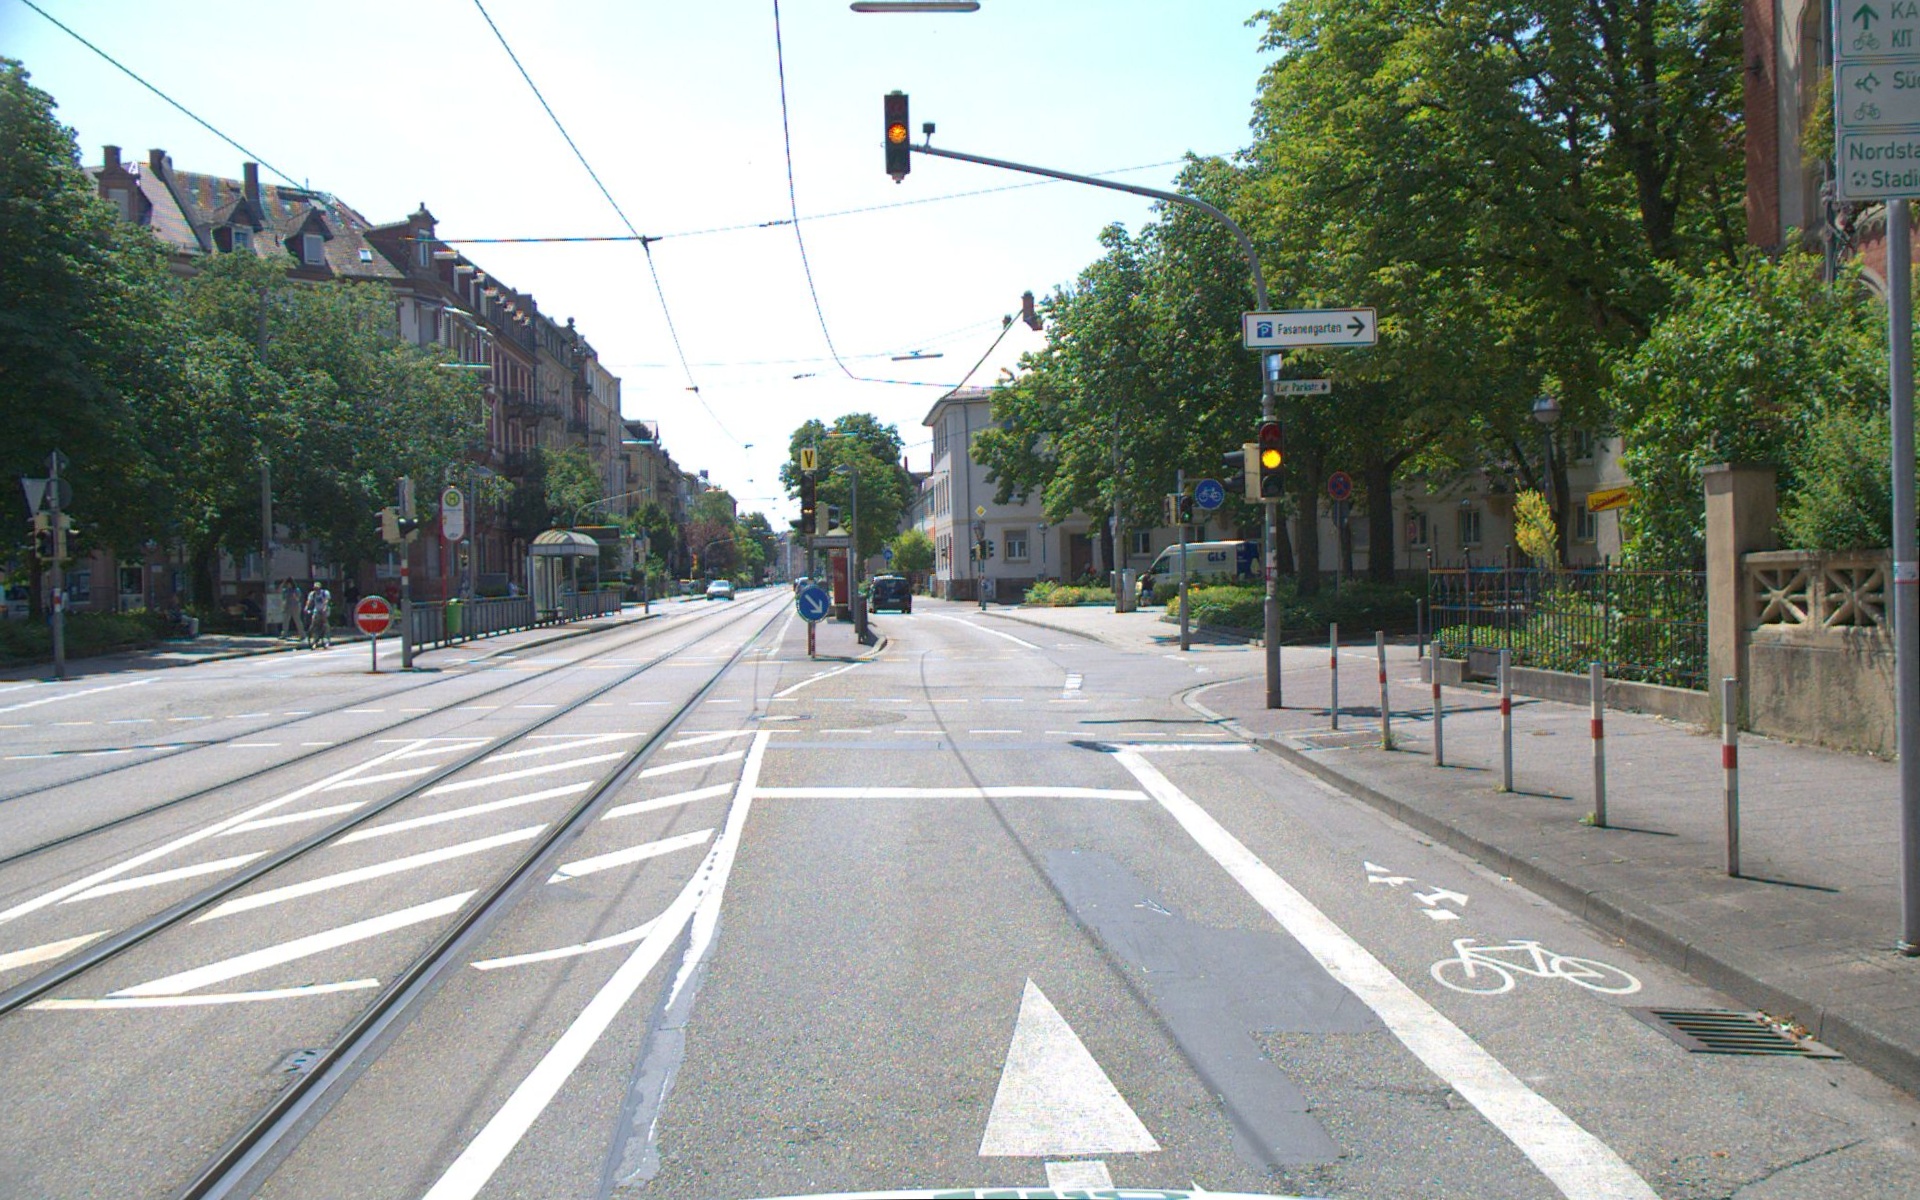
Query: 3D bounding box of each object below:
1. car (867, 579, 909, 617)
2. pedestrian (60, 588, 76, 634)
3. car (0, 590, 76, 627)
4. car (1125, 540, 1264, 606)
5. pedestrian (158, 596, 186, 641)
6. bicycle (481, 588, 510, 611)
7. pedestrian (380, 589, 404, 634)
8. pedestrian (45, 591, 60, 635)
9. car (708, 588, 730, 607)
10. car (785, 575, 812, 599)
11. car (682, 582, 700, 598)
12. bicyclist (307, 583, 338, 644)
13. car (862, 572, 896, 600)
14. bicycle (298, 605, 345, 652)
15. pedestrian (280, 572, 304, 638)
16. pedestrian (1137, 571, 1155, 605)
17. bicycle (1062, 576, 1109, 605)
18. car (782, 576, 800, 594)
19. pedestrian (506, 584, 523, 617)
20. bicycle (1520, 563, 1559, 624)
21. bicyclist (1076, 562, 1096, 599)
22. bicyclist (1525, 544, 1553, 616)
[{"bbox_3d":[-3.001,-0.091,68.370,1.495,1.469,3.361,-3,0,-5],"label":"car"},{"bbox_3d":[-36.546,0.446,67.749,0.556,1.857,0.629,-1,0,-28],"label":"pedestrian"},{"bbox_3d":[-38.732,0.362,68.580,3.651,1.467,1.542,-1,0,19],"label":"car"},{"bbox_3d":[9.834,-1.110,69.684,1.986,2.635,5.753,-2,1,-45],"label":"car"},{"bbox_3d":[-22.529,0.536,47.273,0.635,1.278,0.546,-1,0,44],"label":"pedestrian"},{"bbox_3d":[-23.947,-0.033,85.283,0.358,1.189,1.513,1,1,37],"label":"bicycle"},{"bbox_3d":[-20.591,0.408,59.983,0.667,1.633,0.771,-1,0,-9],"label":"pedestrian"},{"bbox_3d":[-37.435,0.540,68.218,0.500,1.799,0.524,-1,0,-28],"label":"pedestrian"},{"bbox_3d":[-17.807,-0.172,122.112,1.511,1.362,3.713,-1,0,-7],"label":"car"},{"bbox_3d":[-10.985,-0.888,112.623,1.497,1.481,3.356,-3,0,-11],"label":"car"},{"bbox_3d":[-28.668,-1.032,176.258,1.653,1.498,3.931,-5,1,-8],"label":"car"},{"bbox_3d":[-16.818,0.356,43.628,0.596,1.601,0.584,-1,0,-6],"label":"bicyclist"},{"bbox_3d":[-4.943,-0.849,100.636,1.714,1.498,3.933,-5,1,-6],"label":"car"},{"bbox_3d":[-16.806,0.732,43.578,0.616,1.177,1.976,-1,1,-6],"label":"bicycle"},{"bbox_3d":[-19.465,0.147,48.191,0.500,1.912,0.493,-1,0,-1],"label":"pedestrian"},{"bbox_3d":[6.376,-0.416,56.632,0.499,1.111,0.478,-3,2,0],"label":"pedestrian"},{"bbox_3d":[5.633,-0.423,74.158,2.040,1.258,0.580,-1,0,28],"label":"bicycle"},{"bbox_3d":[-19.482,-1.723,191.303,2.007,2.049,4.601,-1,0,-5],"label":"car"},{"bbox_3d":[-22.403,0.015,83.126,0.461,1.643,0.650,3,2,42],"label":"pedestrian"},{"bbox_3d":[14.996,-0.168,42.823,0.579,1.511,2.170,-1,0,10],"label":"bicycle"},{"bbox_3d":[5.653,-0.868,74.125,0.680,1.675,0.579,-1,0,28],"label":"bicyclist"},{"bbox_3d":[14.977,-0.512,42.778,0.589,1.831,0.535,-1,0,9],"label":"bicyclist"}]
